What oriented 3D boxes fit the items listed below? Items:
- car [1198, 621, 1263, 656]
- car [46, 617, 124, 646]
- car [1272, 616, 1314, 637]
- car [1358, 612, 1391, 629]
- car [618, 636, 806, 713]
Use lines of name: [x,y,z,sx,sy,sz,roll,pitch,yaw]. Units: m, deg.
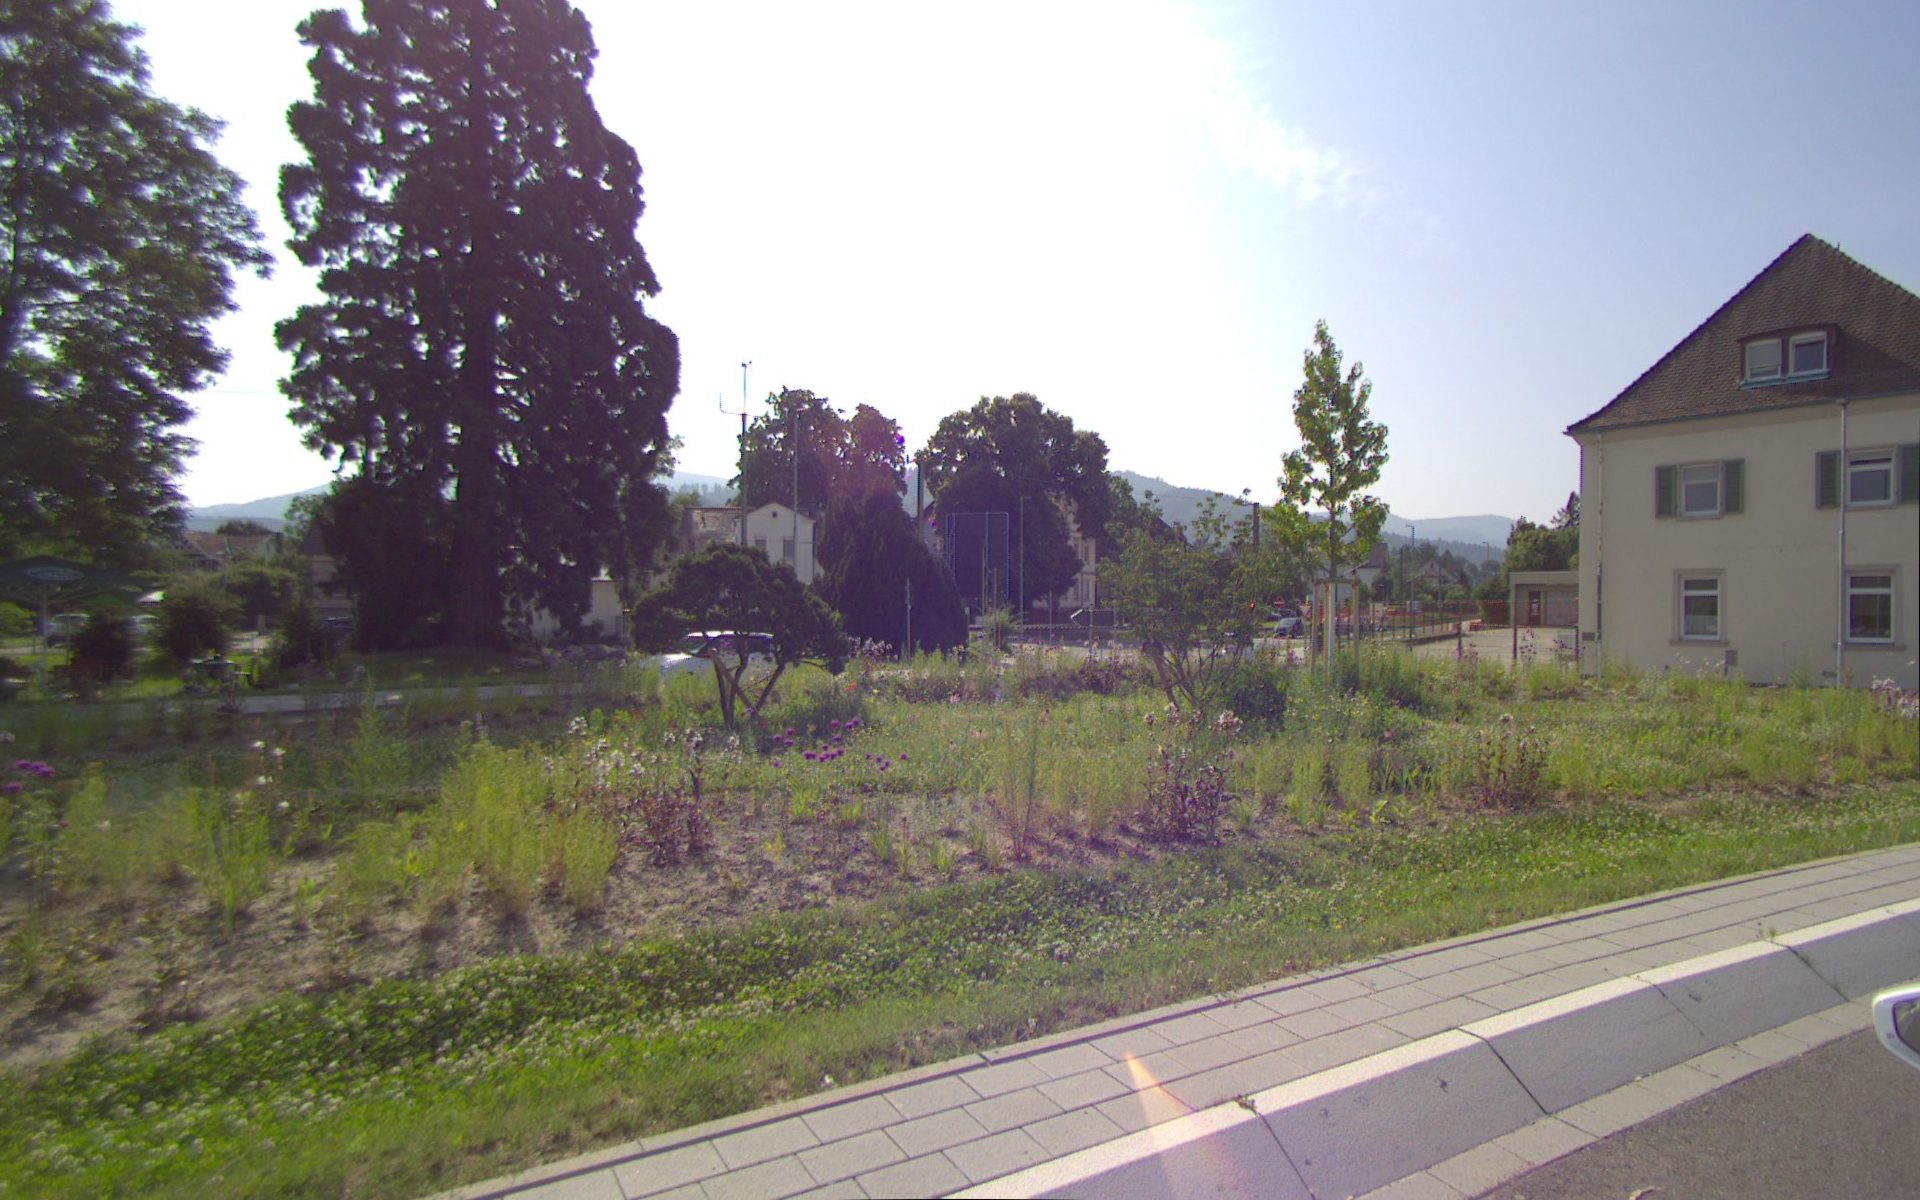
car: [13.099,1.833,48.888,1.682,1.416,3.995,1,2,-6]
car: [-43.384,1.522,49.886,1.473,1.194,3.520,0,2,-15]
car: [25.688,1.999,77.370,1.689,1.416,3.980,3,2,40]
car: [38.509,1.854,93.349,1.689,1.416,3.980,3,2,40]
car: [-5.552,1.621,22.889,1.650,1.551,3.982,-1,-2,39]
